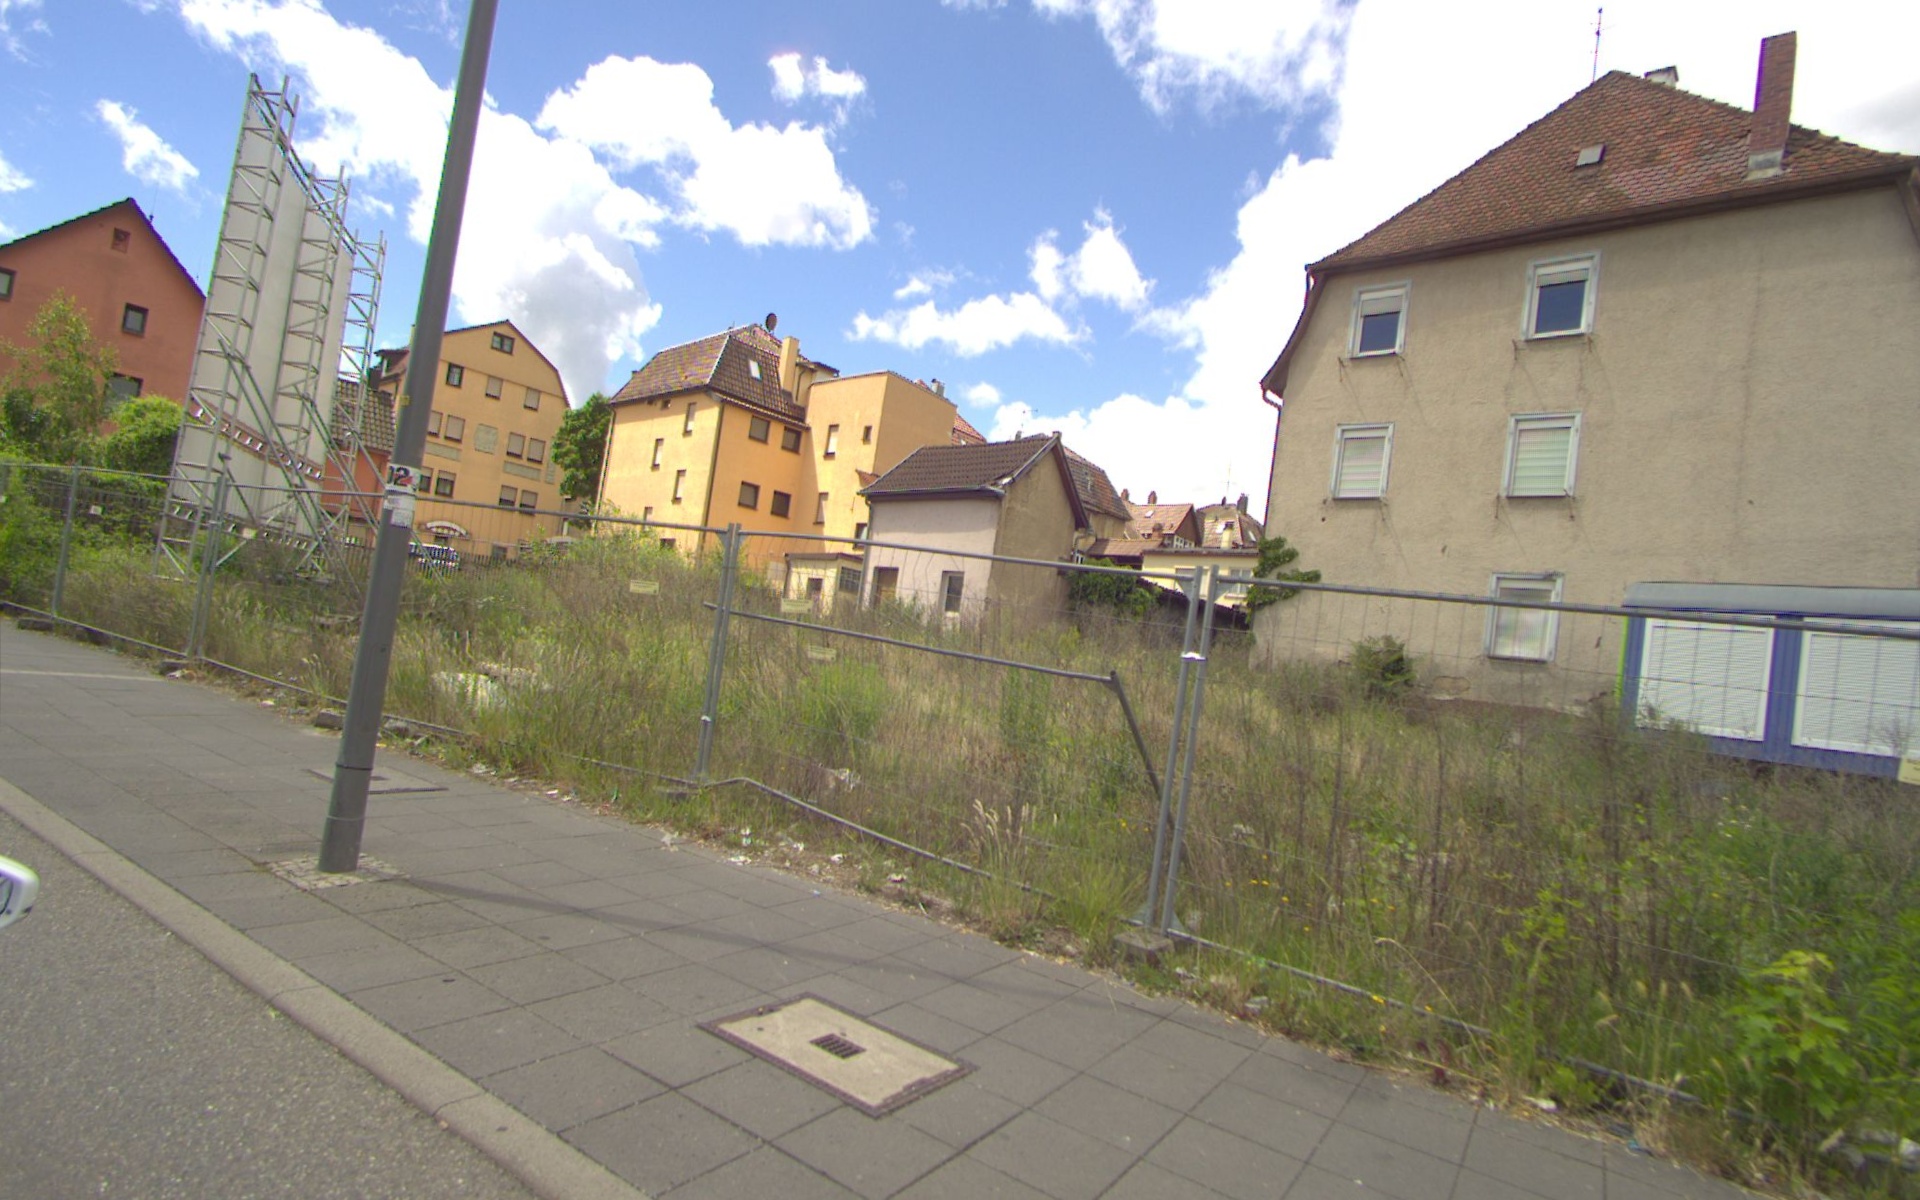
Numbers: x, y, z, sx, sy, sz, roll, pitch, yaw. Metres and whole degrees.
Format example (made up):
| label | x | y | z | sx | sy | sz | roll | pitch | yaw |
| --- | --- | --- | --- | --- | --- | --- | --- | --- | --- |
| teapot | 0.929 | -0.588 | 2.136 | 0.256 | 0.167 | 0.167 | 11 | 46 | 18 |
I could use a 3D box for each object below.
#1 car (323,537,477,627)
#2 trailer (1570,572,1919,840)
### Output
| label | x | y | z | sx | sy | sz | roll | pitch | yaw |
| --- | --- | --- | --- | --- | --- | --- | --- | --- | --- |
| car | -9.181 | -0.308 | 16.473 | 2.405 | 1.134 | 1.074 | 7 | -1 | 32 |
| trailer | 12.252 | 1.480 | 13.680 | 2.398 | 3.157 | 6.088 | 9 | -3 | -42 |
